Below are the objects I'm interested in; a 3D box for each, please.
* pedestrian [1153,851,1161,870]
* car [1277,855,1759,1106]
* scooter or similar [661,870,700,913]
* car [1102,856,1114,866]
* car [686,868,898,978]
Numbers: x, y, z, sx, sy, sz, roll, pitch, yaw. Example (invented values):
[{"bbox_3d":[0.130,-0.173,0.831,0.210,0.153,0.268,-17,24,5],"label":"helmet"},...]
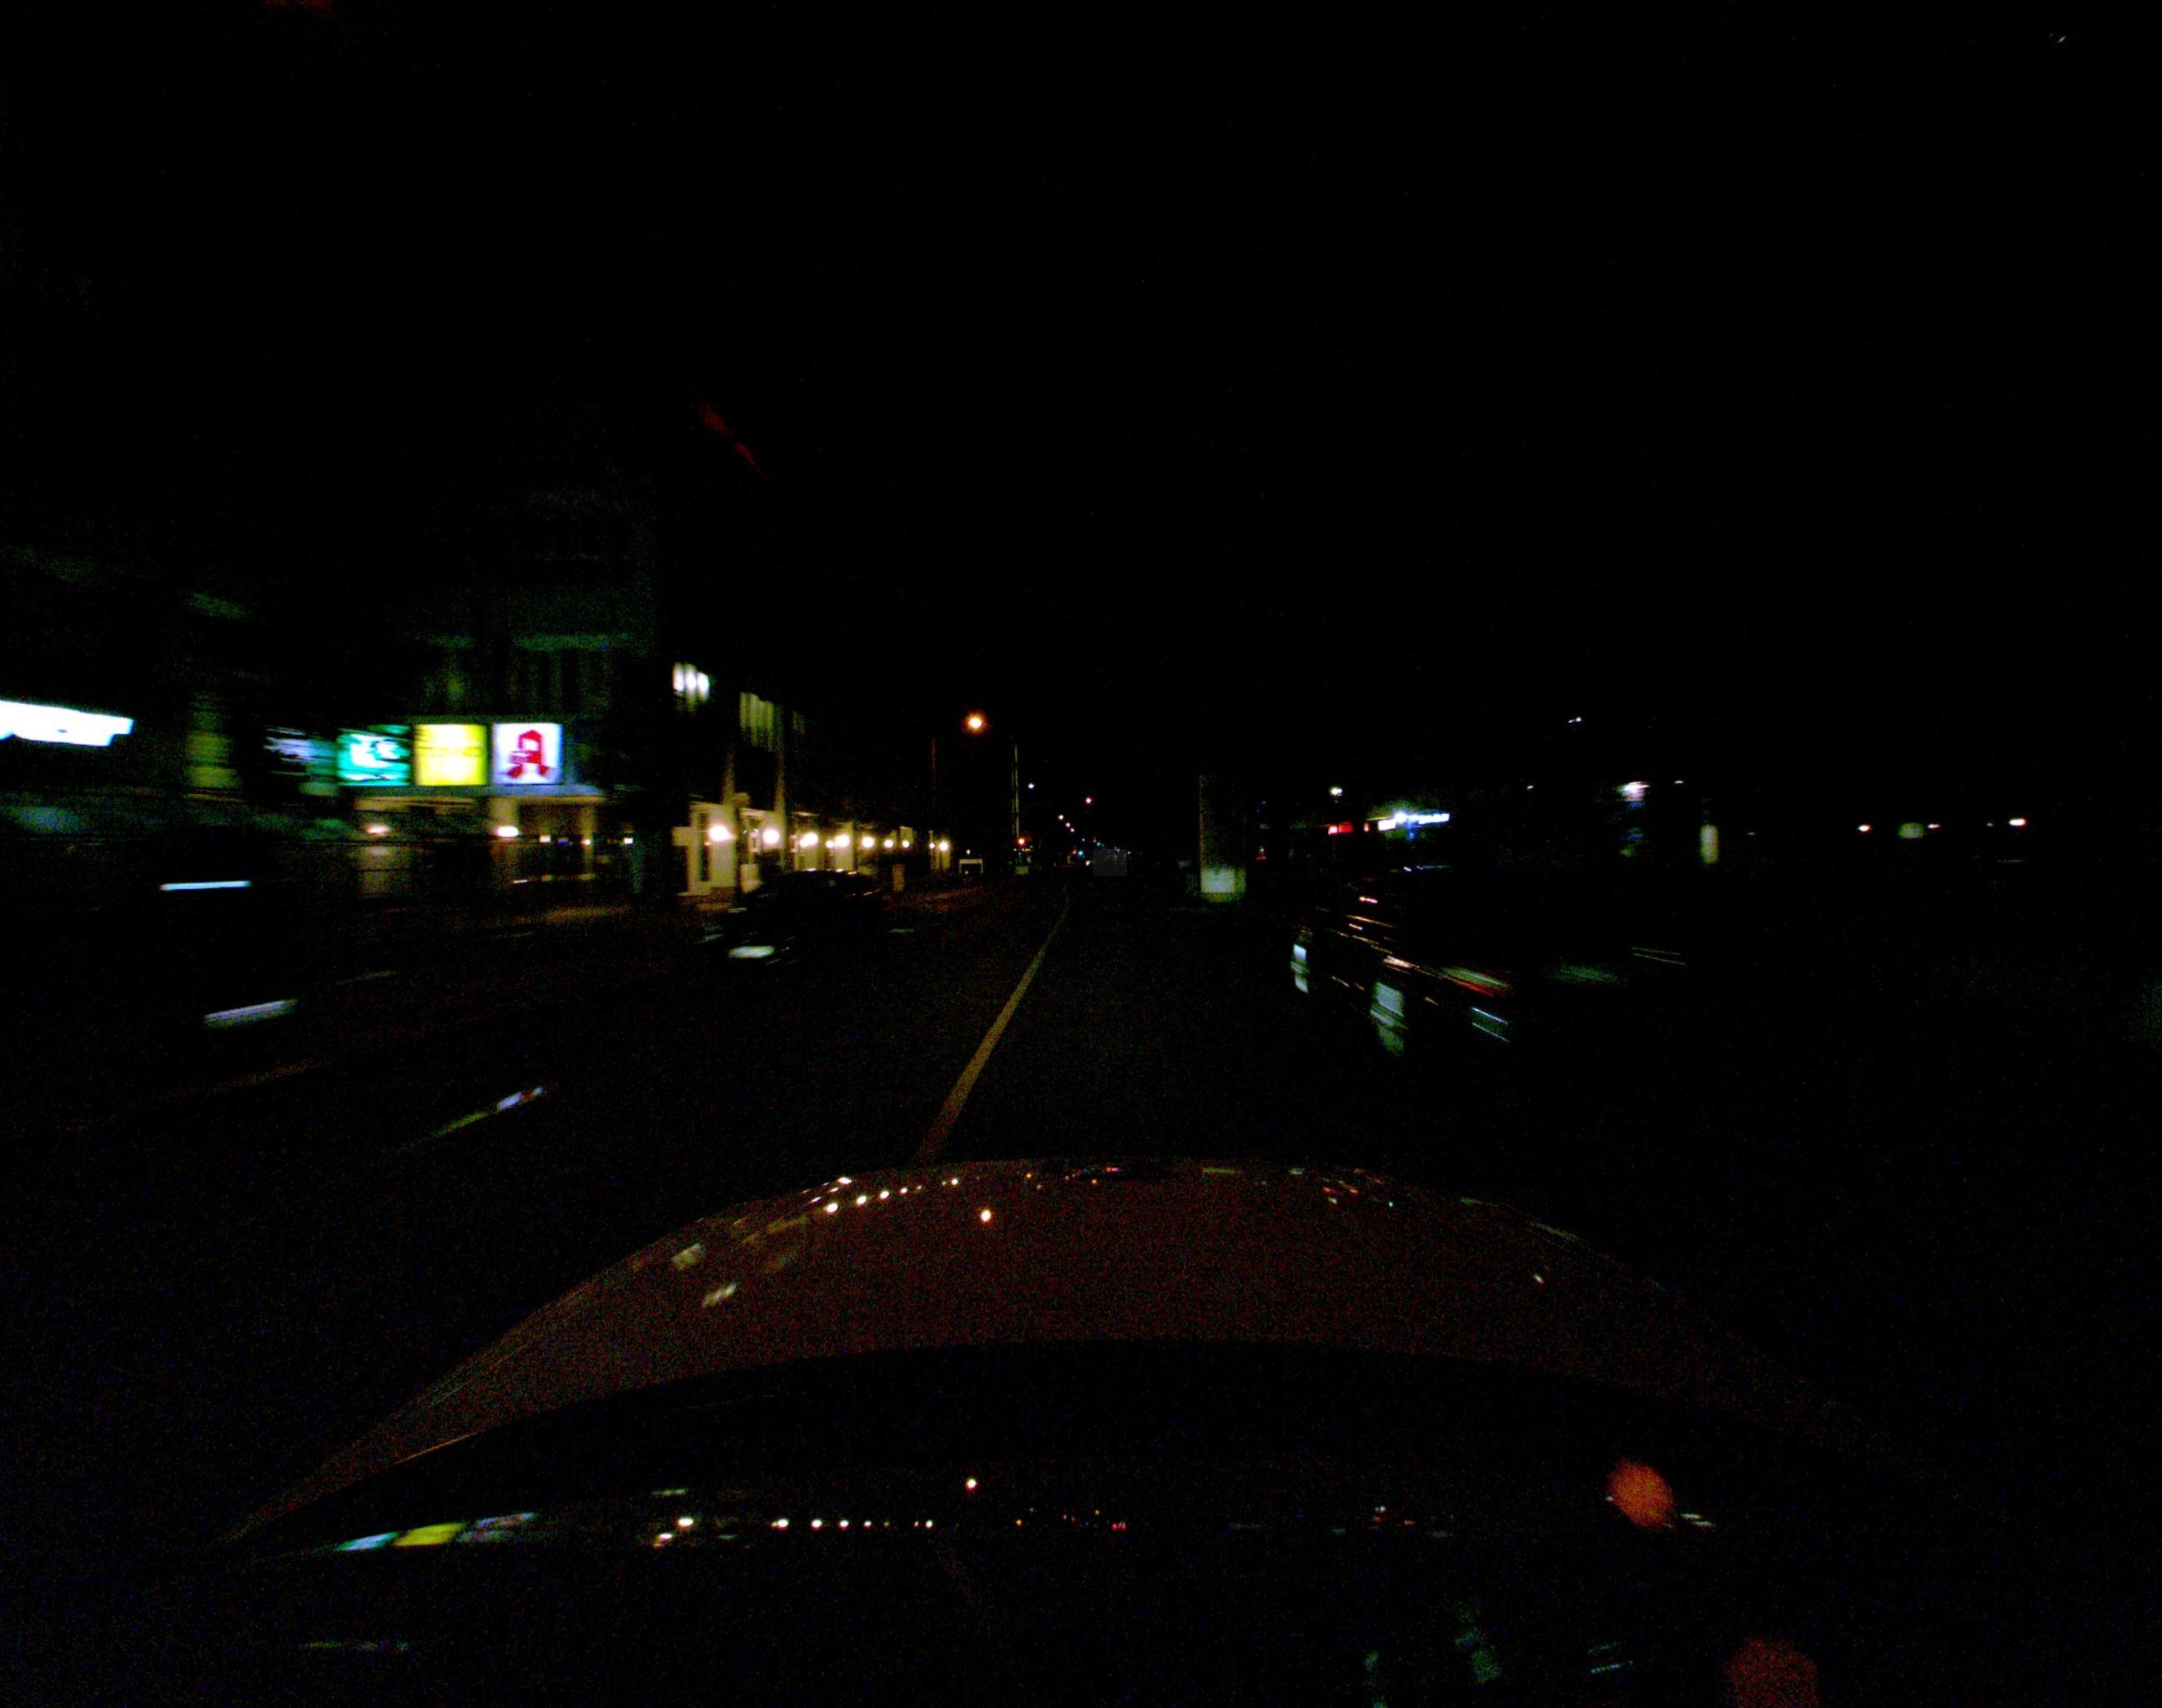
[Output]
[{"bbox_3d":[7.547,0.636,80.770,0.700,1.818,1.082,-2,0,2],"label":"pedestrian"},{"bbox_3d":[3.134,0.747,7.173,1.757,1.414,4.809,-2,0,2],"label":"car"},{"bbox_3d":[-12.014,1.111,24.463,0.386,1.221,1.345,-1,0,4],"label":"scooter or similar"},{"bbox_3d":[5.008,1.256,150.826,1.987,1.643,4.000,-2,0,1],"label":"car"},{"bbox_3d":[-4.438,0.973,13.323,1.735,1.413,4.497,0,0,2],"label":"car"}]
